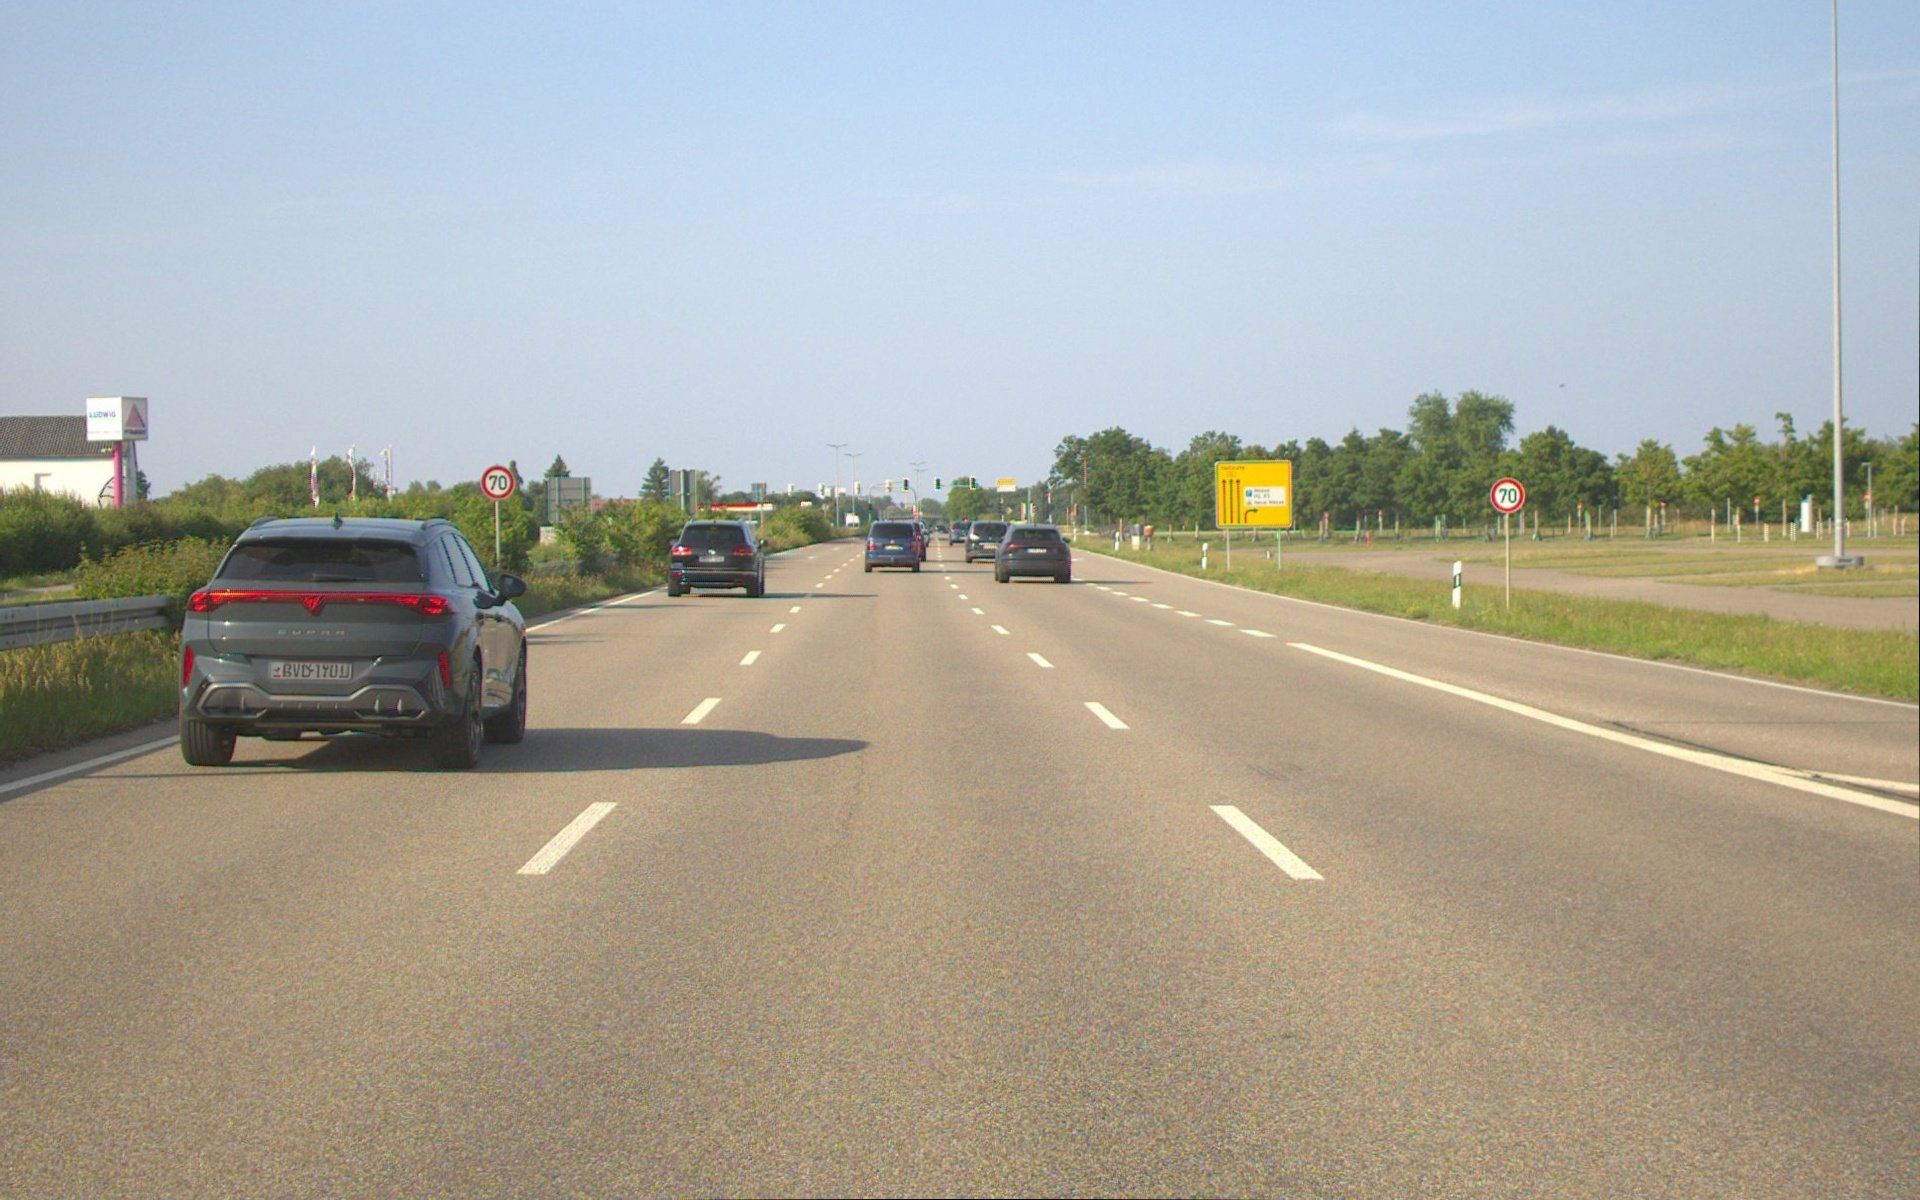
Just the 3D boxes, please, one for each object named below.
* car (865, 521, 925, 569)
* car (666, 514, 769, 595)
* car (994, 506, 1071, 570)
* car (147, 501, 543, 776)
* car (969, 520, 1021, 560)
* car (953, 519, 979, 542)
[{"bbox_3d":[-2.068,-1.772,110.466,1.812,1.458,4.401,2,1,-1],"label":"car"},{"bbox_3d":[-5.302,-1.029,75.599,1.932,1.674,4.401,2,1,0],"label":"car"},{"bbox_3d":[1.972,-1.718,94.969,1.932,1.674,4.401,2,1,0],"label":"car"},{"bbox_3d":[-3.982,0.181,22.963,1.845,1.606,4.401,2,1,-1],"label":"car"},{"bbox_3d":[1.319,-2.335,132.260,1.873,1.458,3.981,2,1,0],"label":"car"},{"bbox_3d":[0.346,-4.142,203.591,1.503,1.309,3.156,2,1,0],"label":"car"}]
